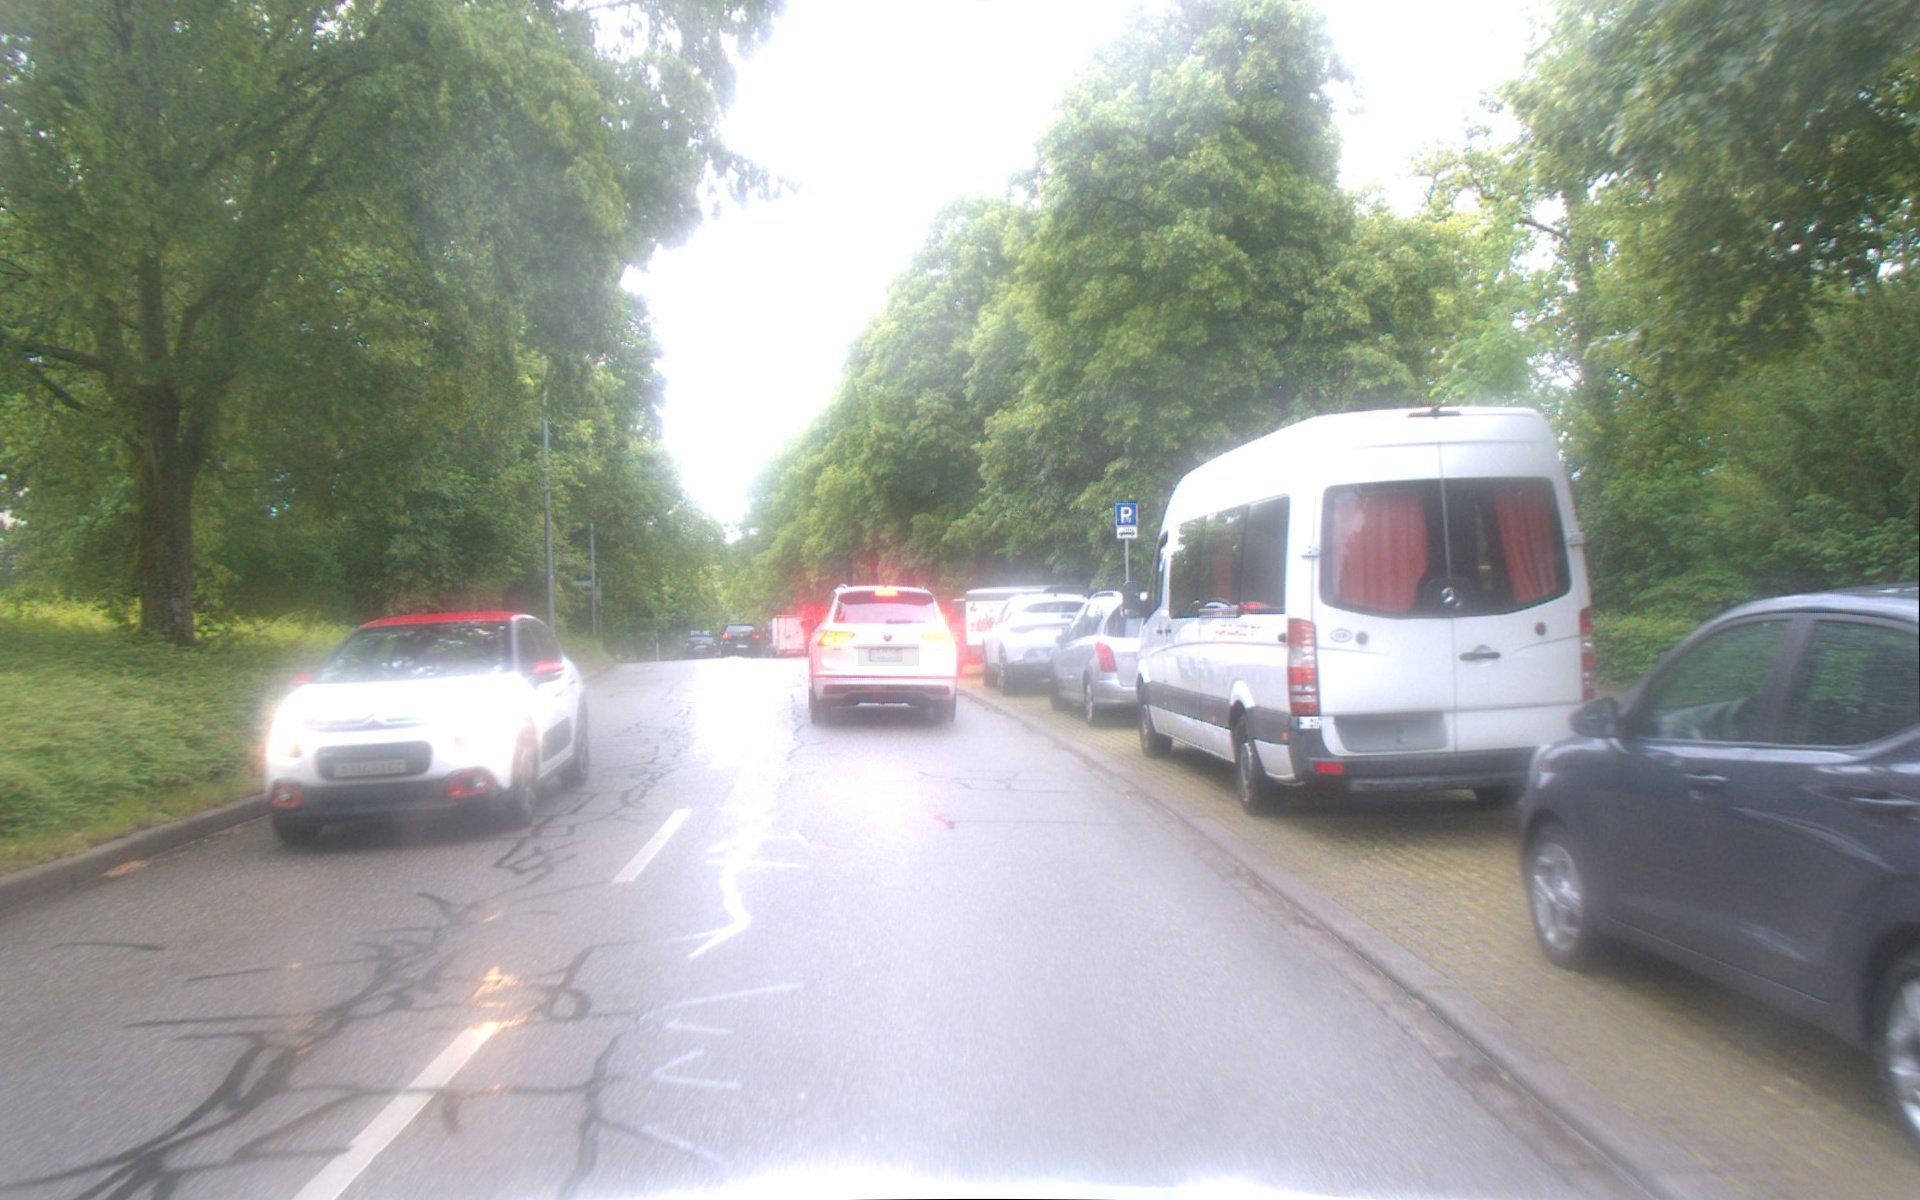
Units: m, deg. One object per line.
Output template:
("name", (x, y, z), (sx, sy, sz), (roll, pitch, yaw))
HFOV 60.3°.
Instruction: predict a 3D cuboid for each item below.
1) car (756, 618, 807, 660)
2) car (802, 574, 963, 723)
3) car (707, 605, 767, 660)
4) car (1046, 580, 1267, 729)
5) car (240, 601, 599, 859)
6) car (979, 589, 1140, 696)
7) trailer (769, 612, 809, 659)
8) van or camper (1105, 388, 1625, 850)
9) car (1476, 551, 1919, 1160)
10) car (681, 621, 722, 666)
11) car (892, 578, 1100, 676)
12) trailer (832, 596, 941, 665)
("car", (-9.251, 2.033, 85.232), (1.959, 1.943, 5.490), (-1, -3, -13))
("car", (-0.954, 0.587, 21.478), (1.866, 1.715, 4.199), (-1, -1, -1))
("car", (-9.327, 1.314, 68.961), (1.960, 2.048, 3.985), (-1, 2, -15))
("car", (2.310, 0.593, 20.553), (1.770, 1.565, 4.262), (-3, 1, -6))
("car", (-3.847, 0.823, 12.409), (1.633, 1.503, 3.728), (-4, 1, -4))
("car", (1.516, 0.616, 27.013), (1.955, 1.523, 4.562), (-2, 1, -5))
("trailer", (-8.352, 1.747, 80.572), (1.503, 2.112, 3.988), (-2, -2, -11))
("van or camper", (2.788, 0.025, 14.045), (1.975, 2.627, 8.433), (-3, 1, -2))
("car", (3.294, 0.613, 5.513), (1.828, 1.537, 3.723), (-2, 1, -3))
("car", (-13.563, 2.255, 86.643), (1.958, 2.048, 3.990), (-1, 2, -11))
("car", (0.661, 0.545, 32.253), (3.936, 1.710, 1.602), (-3, -1, 42))
("trailer", (-2.283, 0.932, 49.393), (2.405, 1.844, 5.876), (-2, -1, -11))
